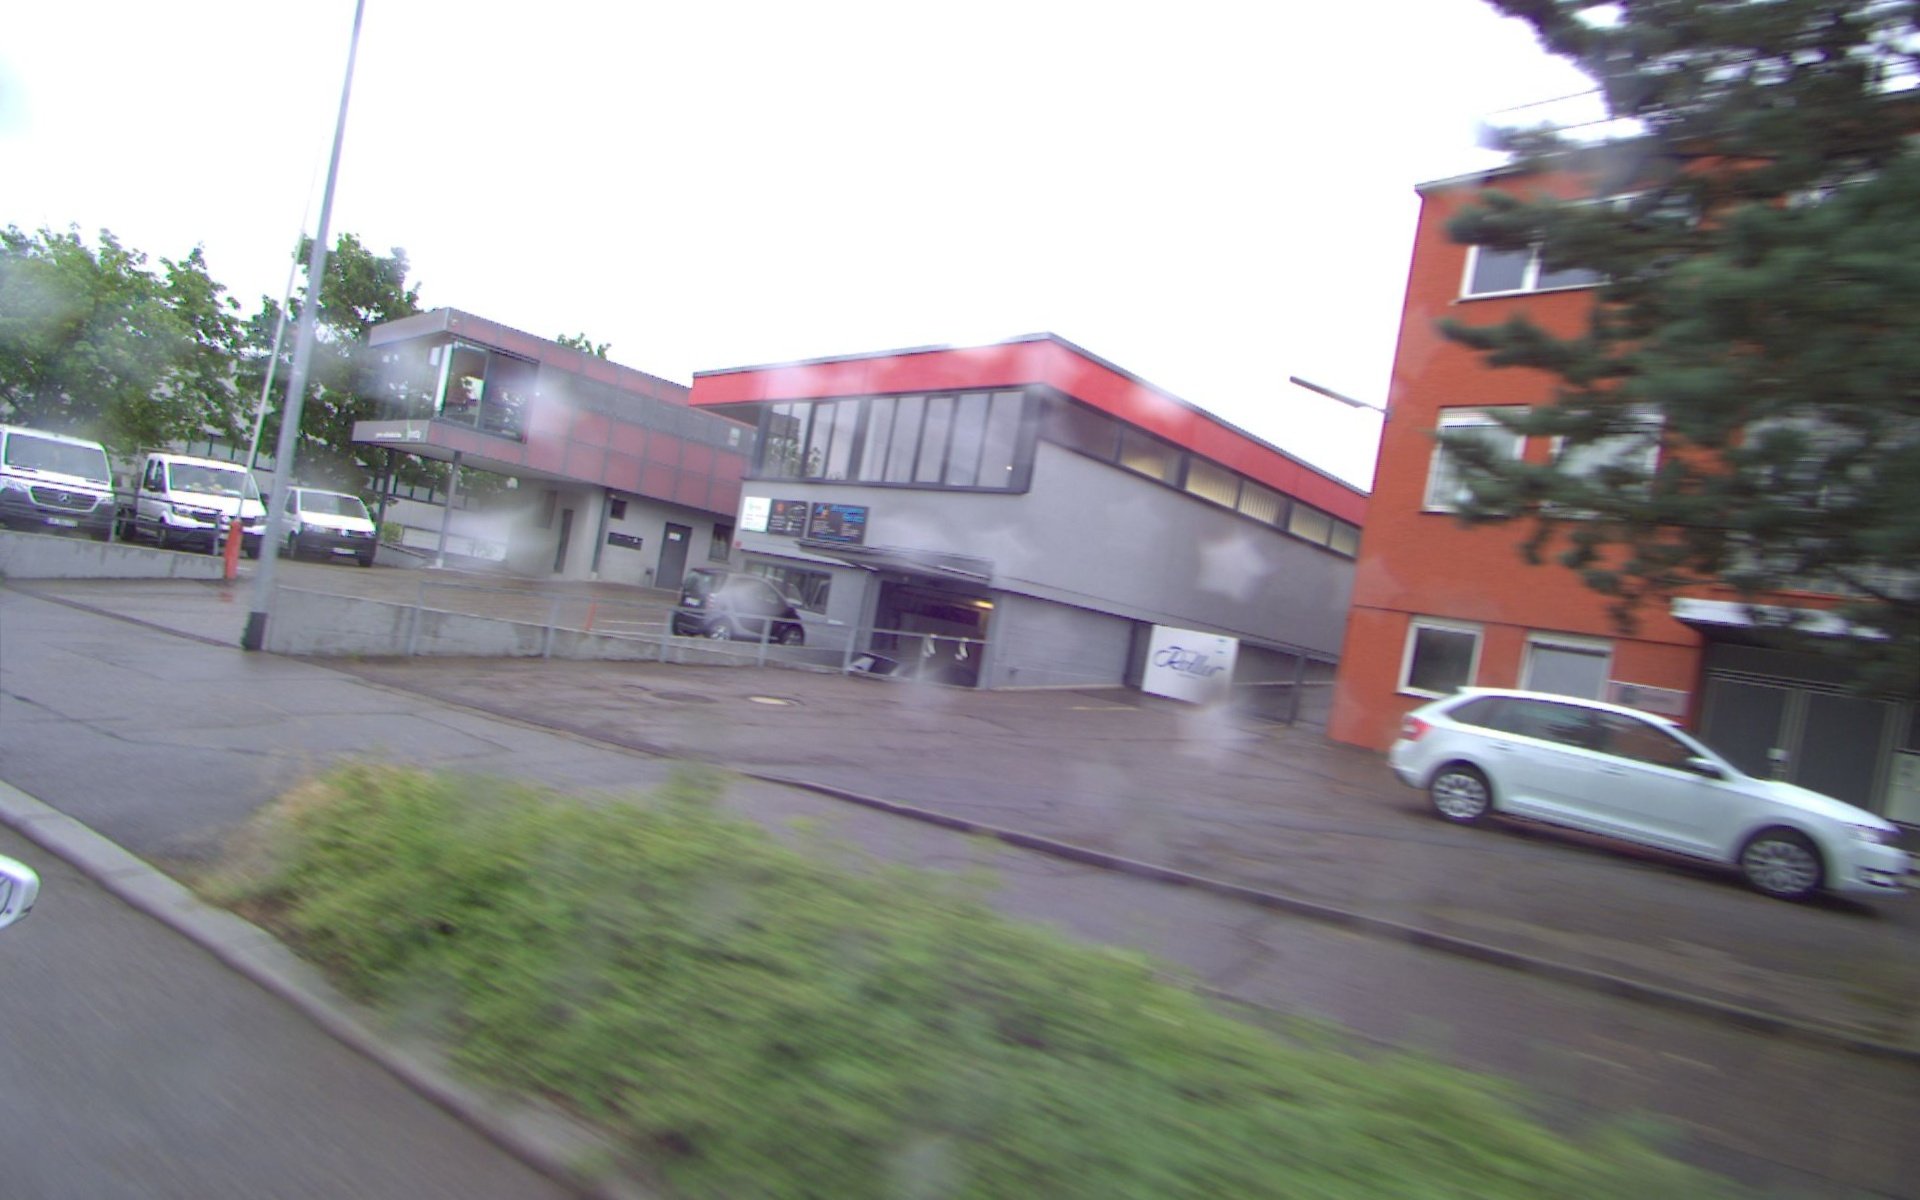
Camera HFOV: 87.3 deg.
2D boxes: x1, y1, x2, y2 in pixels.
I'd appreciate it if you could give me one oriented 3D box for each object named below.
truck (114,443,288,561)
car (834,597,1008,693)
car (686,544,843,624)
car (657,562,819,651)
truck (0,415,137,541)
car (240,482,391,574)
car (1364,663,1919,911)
[{"bbox_3d":[-18.856,-2.421,24.922,4.767,2.369,2.241,6,-1,40],"label":"truck"},{"bbox_3d":[-0.708,0.908,19.612,1.607,1.513,3.030,7,-1,42],"label":"car"},{"bbox_3d":[-5.571,-0.431,28.933,3.911,1.761,1.834,6,4,-44],"label":"car"},{"bbox_3d":[-4.592,0.159,20.960,1.657,1.463,2.706,6,-1,45],"label":"car"},{"bbox_3d":[-20.950,-2.764,22.818,5.567,2.240,2.106,6,-2,37],"label":"truck"},{"bbox_3d":[-17.822,-2.028,27.714,4.869,2.037,2.055,6,-2,41],"label":"car"},{"bbox_3d":[6.674,1.714,10.332,4.260,1.488,1.905,7,-1,35],"label":"car"}]
